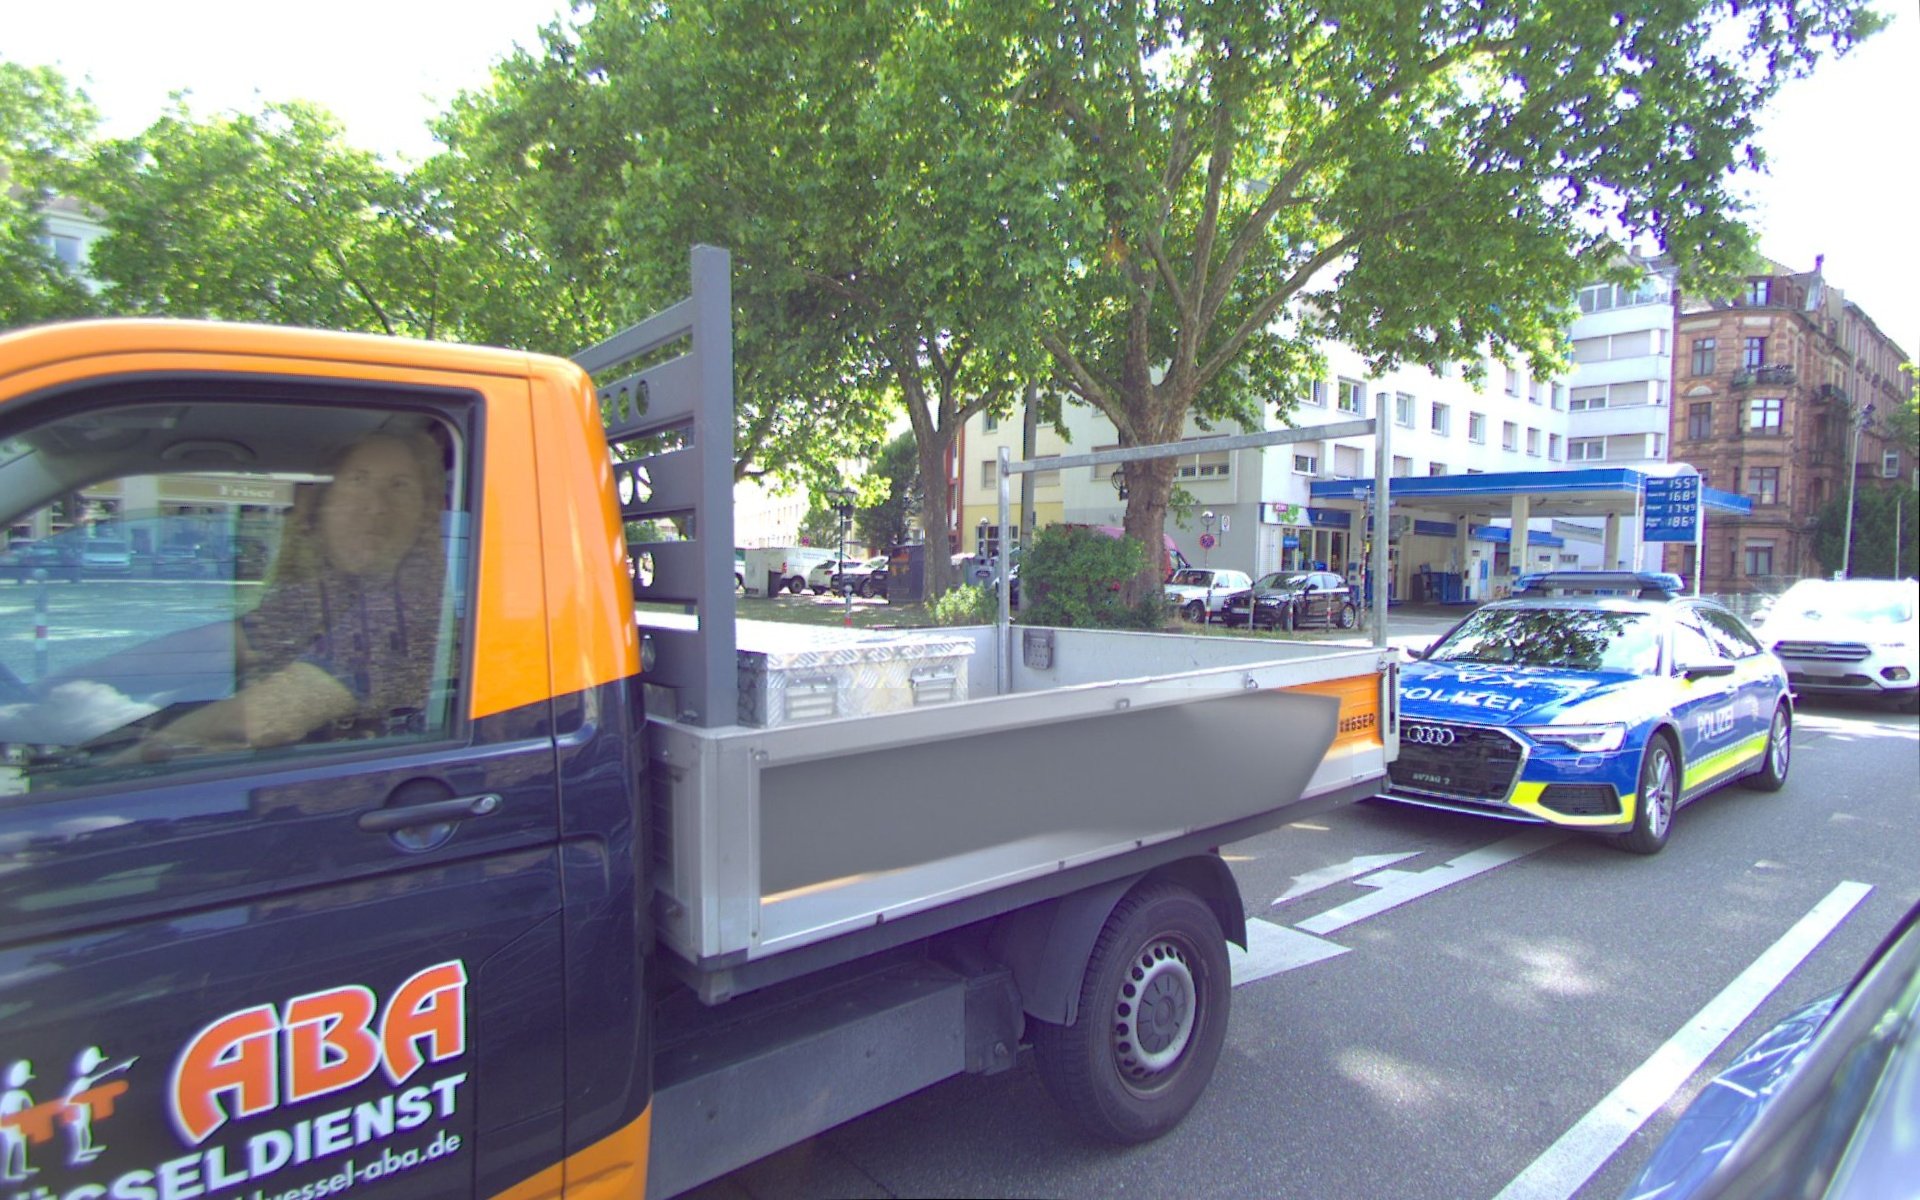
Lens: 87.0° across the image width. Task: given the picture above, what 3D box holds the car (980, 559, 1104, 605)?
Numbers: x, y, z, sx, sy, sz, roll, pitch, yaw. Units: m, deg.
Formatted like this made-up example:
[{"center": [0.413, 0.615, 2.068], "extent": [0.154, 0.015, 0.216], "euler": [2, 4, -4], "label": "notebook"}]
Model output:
[{"center": [2.554, -0.543, 30.900], "extent": [3.930, 1.310, 1.476], "euler": [-1, 0, -41], "label": "car"}]

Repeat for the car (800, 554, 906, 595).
[{"center": [-4.205, -0.983, 40.149], "extent": [3.930, 1.539, 1.661], "euler": [-1, 0, -41], "label": "car"}]

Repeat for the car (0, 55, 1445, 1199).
[{"center": [-1.063, 0.337, 2.489], "extent": [5.242, 2.010, 2.079], "euler": [-3, 4, -40], "label": "car"}]

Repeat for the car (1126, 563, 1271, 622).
[{"center": [6.329, -0.236, 26.653], "extent": [3.930, 1.428, 1.756], "euler": [-1, 2, -41], "label": "car"}]

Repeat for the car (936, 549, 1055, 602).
[{"center": [1.197, -0.791, 33.254], "extent": [3.930, 1.624, 1.528], "euler": [-1, 1, -41], "label": "car"}]

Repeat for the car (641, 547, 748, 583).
[{"center": [-13.819, -1.777, 52.850], "extent": [5.165, 1.773, 1.899], "euler": [-1, 0, -43], "label": "car"}]

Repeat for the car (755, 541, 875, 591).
[{"center": [-5.954, -1.380, 41.936], "extent": [4.601, 1.959, 1.997], "euler": [-1, 0, -41], "label": "car"}]

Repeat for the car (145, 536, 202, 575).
[{"center": [-36.249, -2.058, 46.617], "extent": [1.820, 1.680, 4.077], "euler": [0, 3, -42], "label": "car"}]

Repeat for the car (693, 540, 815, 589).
[{"center": [-9.293, -1.570, 45.977], "extent": [5.167, 2.113, 1.995], "euler": [-1, 0, -45], "label": "car"}]

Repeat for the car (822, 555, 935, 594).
[{"center": [-3.013, -0.909, 37.679], "extent": [3.930, 1.381, 1.765], "euler": [-1, 0, -41], "label": "car"}]

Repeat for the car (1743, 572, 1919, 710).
[{"center": [12.599, 0.463, 14.087], "extent": [4.596, 1.627, 1.763], "euler": [0, 1, -40], "label": "car"}]

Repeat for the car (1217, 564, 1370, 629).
[{"center": [8.153, -0.121, 24.624], "extent": [3.930, 1.428, 1.756], "euler": [-1, 2, -41], "label": "car"}]

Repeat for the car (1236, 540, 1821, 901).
[{"center": [4.211, 0.510, 7.042], "extent": [5.062, 1.673, 1.871], "euler": [-1, 1, -40], "label": "car"}]

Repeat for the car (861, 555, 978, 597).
[{"center": [-1.400, -0.827, 35.780], "extent": [3.930, 1.381, 1.765], "euler": [-1, 0, -41], "label": "car"}]

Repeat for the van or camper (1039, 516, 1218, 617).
[{"center": [4.928, -0.920, 29.172], "extent": [5.252, 2.675, 2.107], "euler": [-1, 0, -38], "label": "van or camper"}]

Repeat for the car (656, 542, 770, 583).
[{"center": [-12.202, -1.821, 50.207], "extent": [5.165, 1.896, 1.996], "euler": [-1, 0, -43], "label": "car"}]

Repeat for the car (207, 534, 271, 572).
[{"center": [-34.438, -2.254, 48.309], "extent": [2.047, 1.680, 4.077], "euler": [0, 3, -42], "label": "car"}]

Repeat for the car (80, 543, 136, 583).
[{"center": [-37.992, -1.663, 45.113], "extent": [1.820, 1.680, 4.077], "euler": [0, 3, -42], "label": "car"}]

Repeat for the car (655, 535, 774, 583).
[{"center": [-11.495, -1.871, 47.676], "extent": [5.164, 2.113, 1.996], "euler": [-1, 0, -42], "label": "car"}]
